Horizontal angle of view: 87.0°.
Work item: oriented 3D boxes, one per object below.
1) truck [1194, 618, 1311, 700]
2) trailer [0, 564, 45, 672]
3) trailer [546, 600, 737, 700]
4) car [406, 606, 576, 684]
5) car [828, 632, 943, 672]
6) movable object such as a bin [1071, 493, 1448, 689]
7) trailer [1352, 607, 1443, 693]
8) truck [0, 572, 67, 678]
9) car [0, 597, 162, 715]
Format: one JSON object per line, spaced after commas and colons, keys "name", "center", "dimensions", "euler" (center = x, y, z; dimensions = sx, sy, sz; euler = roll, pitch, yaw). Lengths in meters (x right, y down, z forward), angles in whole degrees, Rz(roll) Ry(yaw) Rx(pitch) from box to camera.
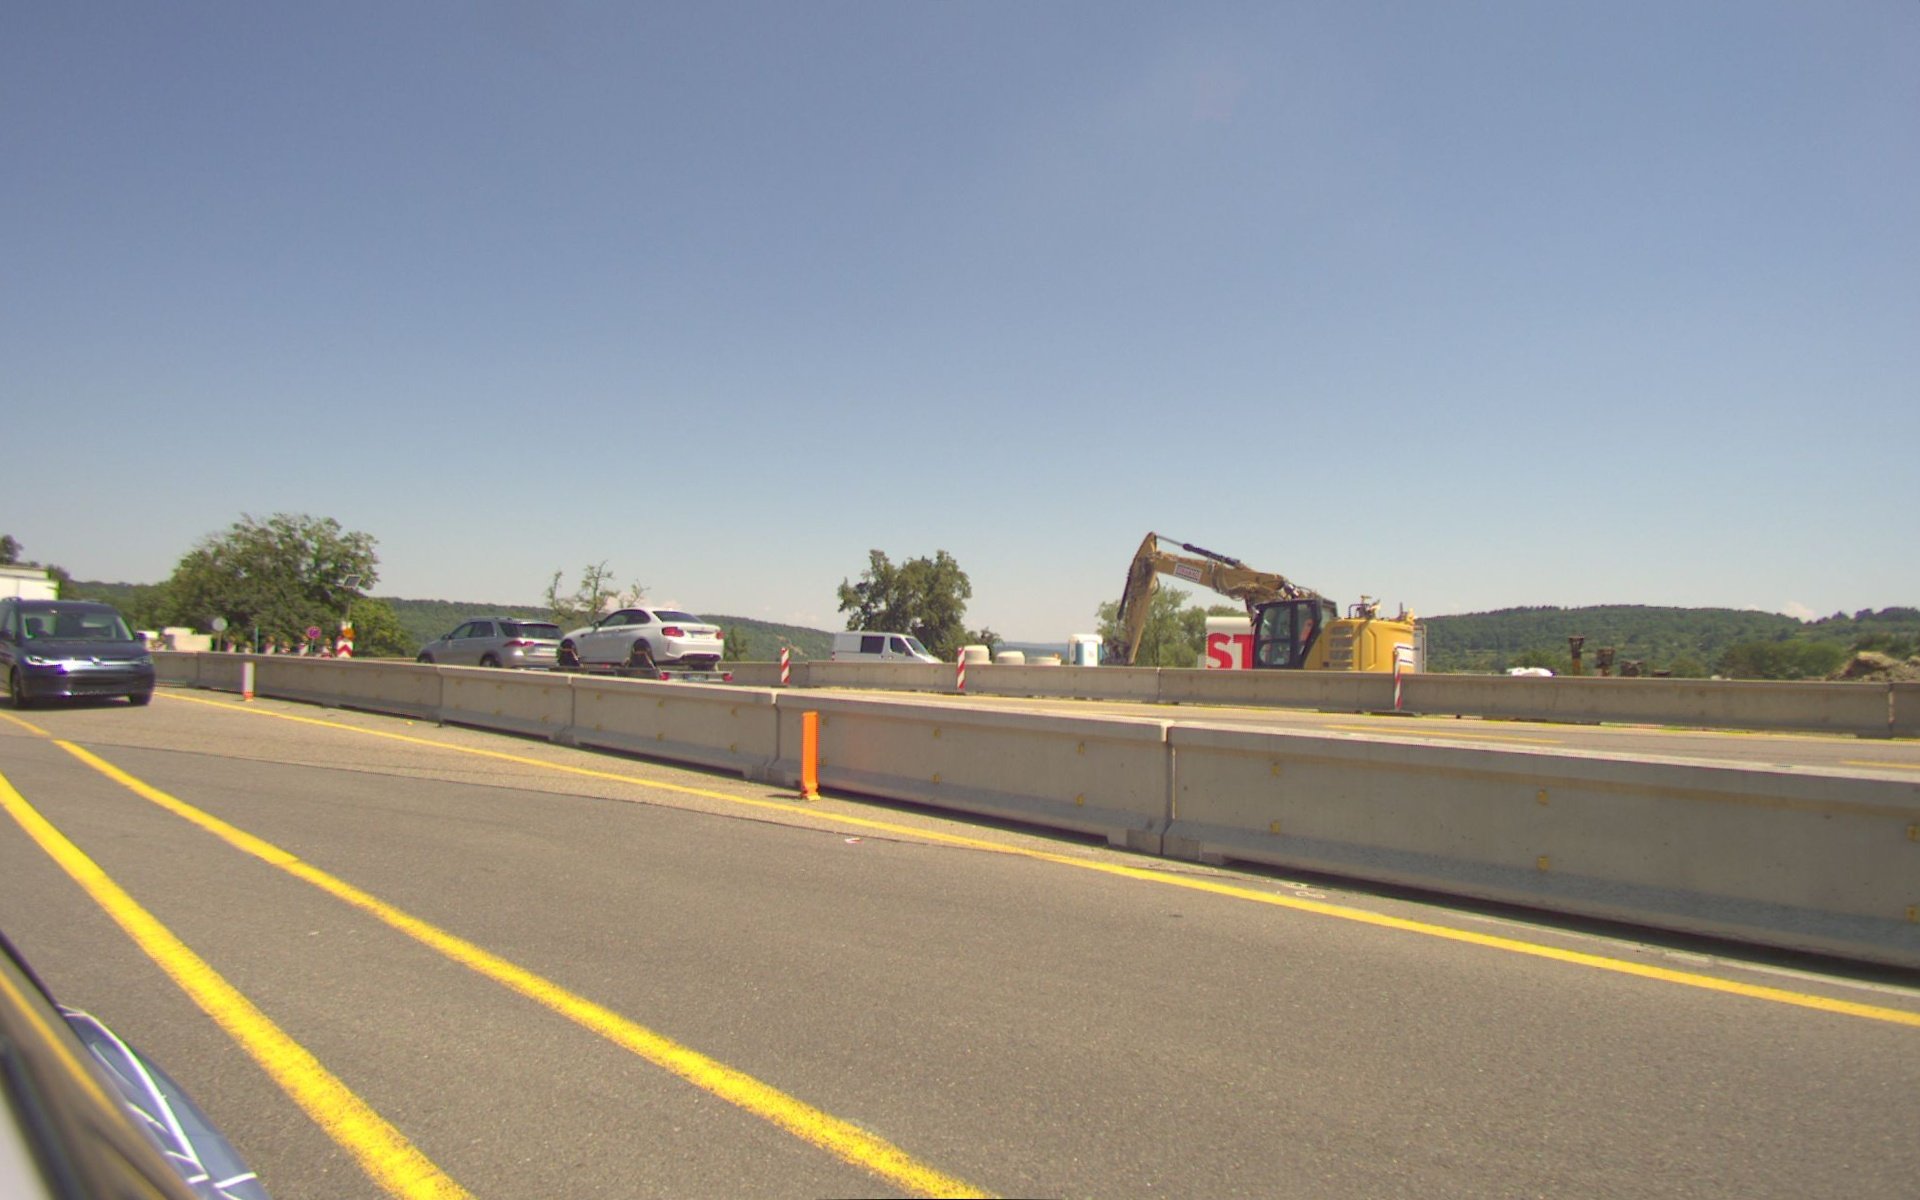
{"name": "truck", "center": [11.498, 2.267, 39.743], "dimensions": [4.234, 3.067, 2.332], "euler": [-1, -3, 21]}
{"name": "trailer", "center": [-43.145, 0.779, 41.609], "dimensions": [12.971, 4.184, 2.577], "euler": [-1, -3, 21]}
{"name": "trailer", "center": [-7.180, 1.107, 22.658], "dimensions": [4.428, 2.037, 1.848], "euler": [-2, -3, 37]}
{"name": "car", "center": [-12.100, 1.153, 26.007], "dimensions": [4.898, 1.820, 1.848], "euler": [-2, -3, 37]}
{"name": "car", "center": [-3.315, 2.303, 45.119], "dimensions": [4.849, 1.726, 1.713], "euler": [-1, -3, 21]}
{"name": "movable object such as a bin", "center": [7.468, -0.030, 26.779], "dimensions": [2.890, 4.363, 9.331], "euler": [3, -4, -45]}
{"name": "trailer", "center": [16.604, 1.911, 38.754], "dimensions": [2.863, 3.020, 5.542], "euler": [-1, -3, 21]}
{"name": "truck", "center": [-33.796, 0.853, 34.263], "dimensions": [6.884, 3.407, 2.567], "euler": [-1, -3, 23]}
{"name": "car", "center": [-15.667, 0.917, 17.793], "dimensions": [4.603, 1.803, 1.900], "euler": [-1, -2, 43]}
